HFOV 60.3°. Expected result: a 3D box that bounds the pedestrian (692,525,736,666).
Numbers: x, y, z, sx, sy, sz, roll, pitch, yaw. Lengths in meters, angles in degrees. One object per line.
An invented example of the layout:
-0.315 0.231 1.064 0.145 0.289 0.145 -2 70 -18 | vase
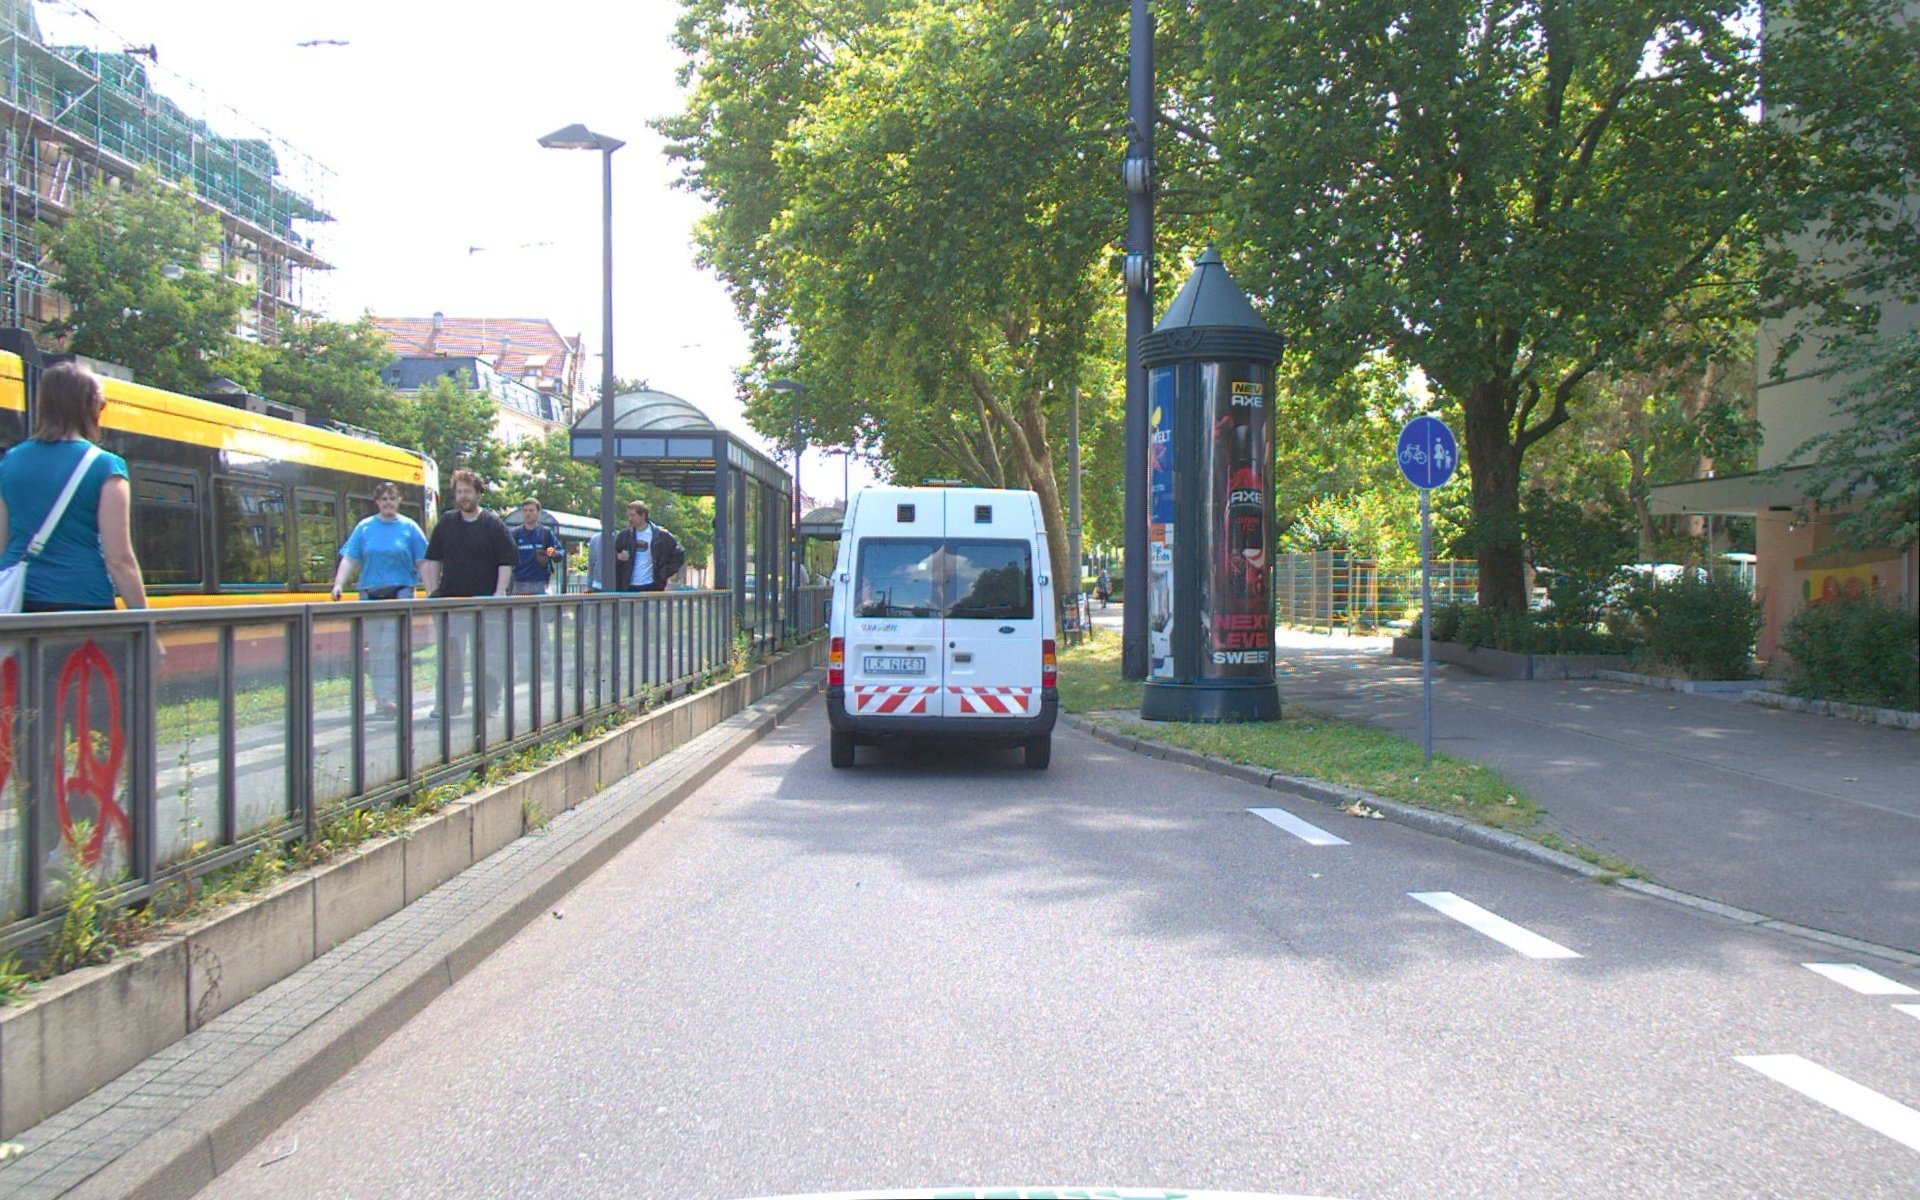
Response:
-3.438 -0.070 23.121 0.464 1.933 0.533 -1 1 -25 | pedestrian

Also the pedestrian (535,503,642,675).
-4.103 -0.129 18.390 0.868 1.832 1.494 0 1 -1 | pedestrian

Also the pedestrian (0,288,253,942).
-2.856 0.041 5.309 0.810 1.932 0.846 0 0 -1 | pedestrian

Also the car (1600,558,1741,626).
19.635 -0.235 45.943 1.702 1.786 4.770 0 1 -3 | car

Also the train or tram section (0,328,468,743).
-9.477 -0.651 21.047 2.668 3.646 13.015 0 1 -1 | train or tram section

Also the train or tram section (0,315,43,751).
-9.362 -0.506 9.280 2.739 3.646 10.403 0 1 -1 | train or tram section

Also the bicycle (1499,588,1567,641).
12.492 0.303 36.109 0.594 1.092 1.835 0 1 -9 | bicycle

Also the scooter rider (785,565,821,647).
-3.098 0.110 32.725 0.641 1.598 0.901 0 1 -1 | scooter rider

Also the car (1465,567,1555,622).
19.193 -0.209 57.902 1.770 1.846 4.340 0 1 1 | car

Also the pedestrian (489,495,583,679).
-4.359 -0.135 17.070 0.697 1.832 1.132 0 1 -1 | pedestrian

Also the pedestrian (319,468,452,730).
-4.276 -0.013 12.368 0.687 1.881 0.908 0 0 -1 | pedestrian

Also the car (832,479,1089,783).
-0.021 0.201 15.387 2.005 2.373 4.714 0 1 -1 | car

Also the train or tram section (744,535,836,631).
-6.948 -0.718 69.373 2.668 3.646 13.015 0 1 -1 | train or tram section

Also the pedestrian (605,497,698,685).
-3.209 -0.098 17.284 0.794 1.905 1.031 0 1 -1 | pedestrian

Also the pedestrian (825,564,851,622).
-3.275 -0.201 44.478 0.662 1.542 0.596 -1 1 -2 | pedestrian

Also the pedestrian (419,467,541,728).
-3.567 -0.021 12.343 0.687 1.881 0.789 0 0 -2 | pedestrian

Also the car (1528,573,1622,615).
21.573 -0.236 58.172 1.770 1.426 4.047 0 1 -1 | car

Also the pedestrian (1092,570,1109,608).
6.099 -0.482 71.829 0.679 1.653 0.637 0 1 -1 | pedestrian
